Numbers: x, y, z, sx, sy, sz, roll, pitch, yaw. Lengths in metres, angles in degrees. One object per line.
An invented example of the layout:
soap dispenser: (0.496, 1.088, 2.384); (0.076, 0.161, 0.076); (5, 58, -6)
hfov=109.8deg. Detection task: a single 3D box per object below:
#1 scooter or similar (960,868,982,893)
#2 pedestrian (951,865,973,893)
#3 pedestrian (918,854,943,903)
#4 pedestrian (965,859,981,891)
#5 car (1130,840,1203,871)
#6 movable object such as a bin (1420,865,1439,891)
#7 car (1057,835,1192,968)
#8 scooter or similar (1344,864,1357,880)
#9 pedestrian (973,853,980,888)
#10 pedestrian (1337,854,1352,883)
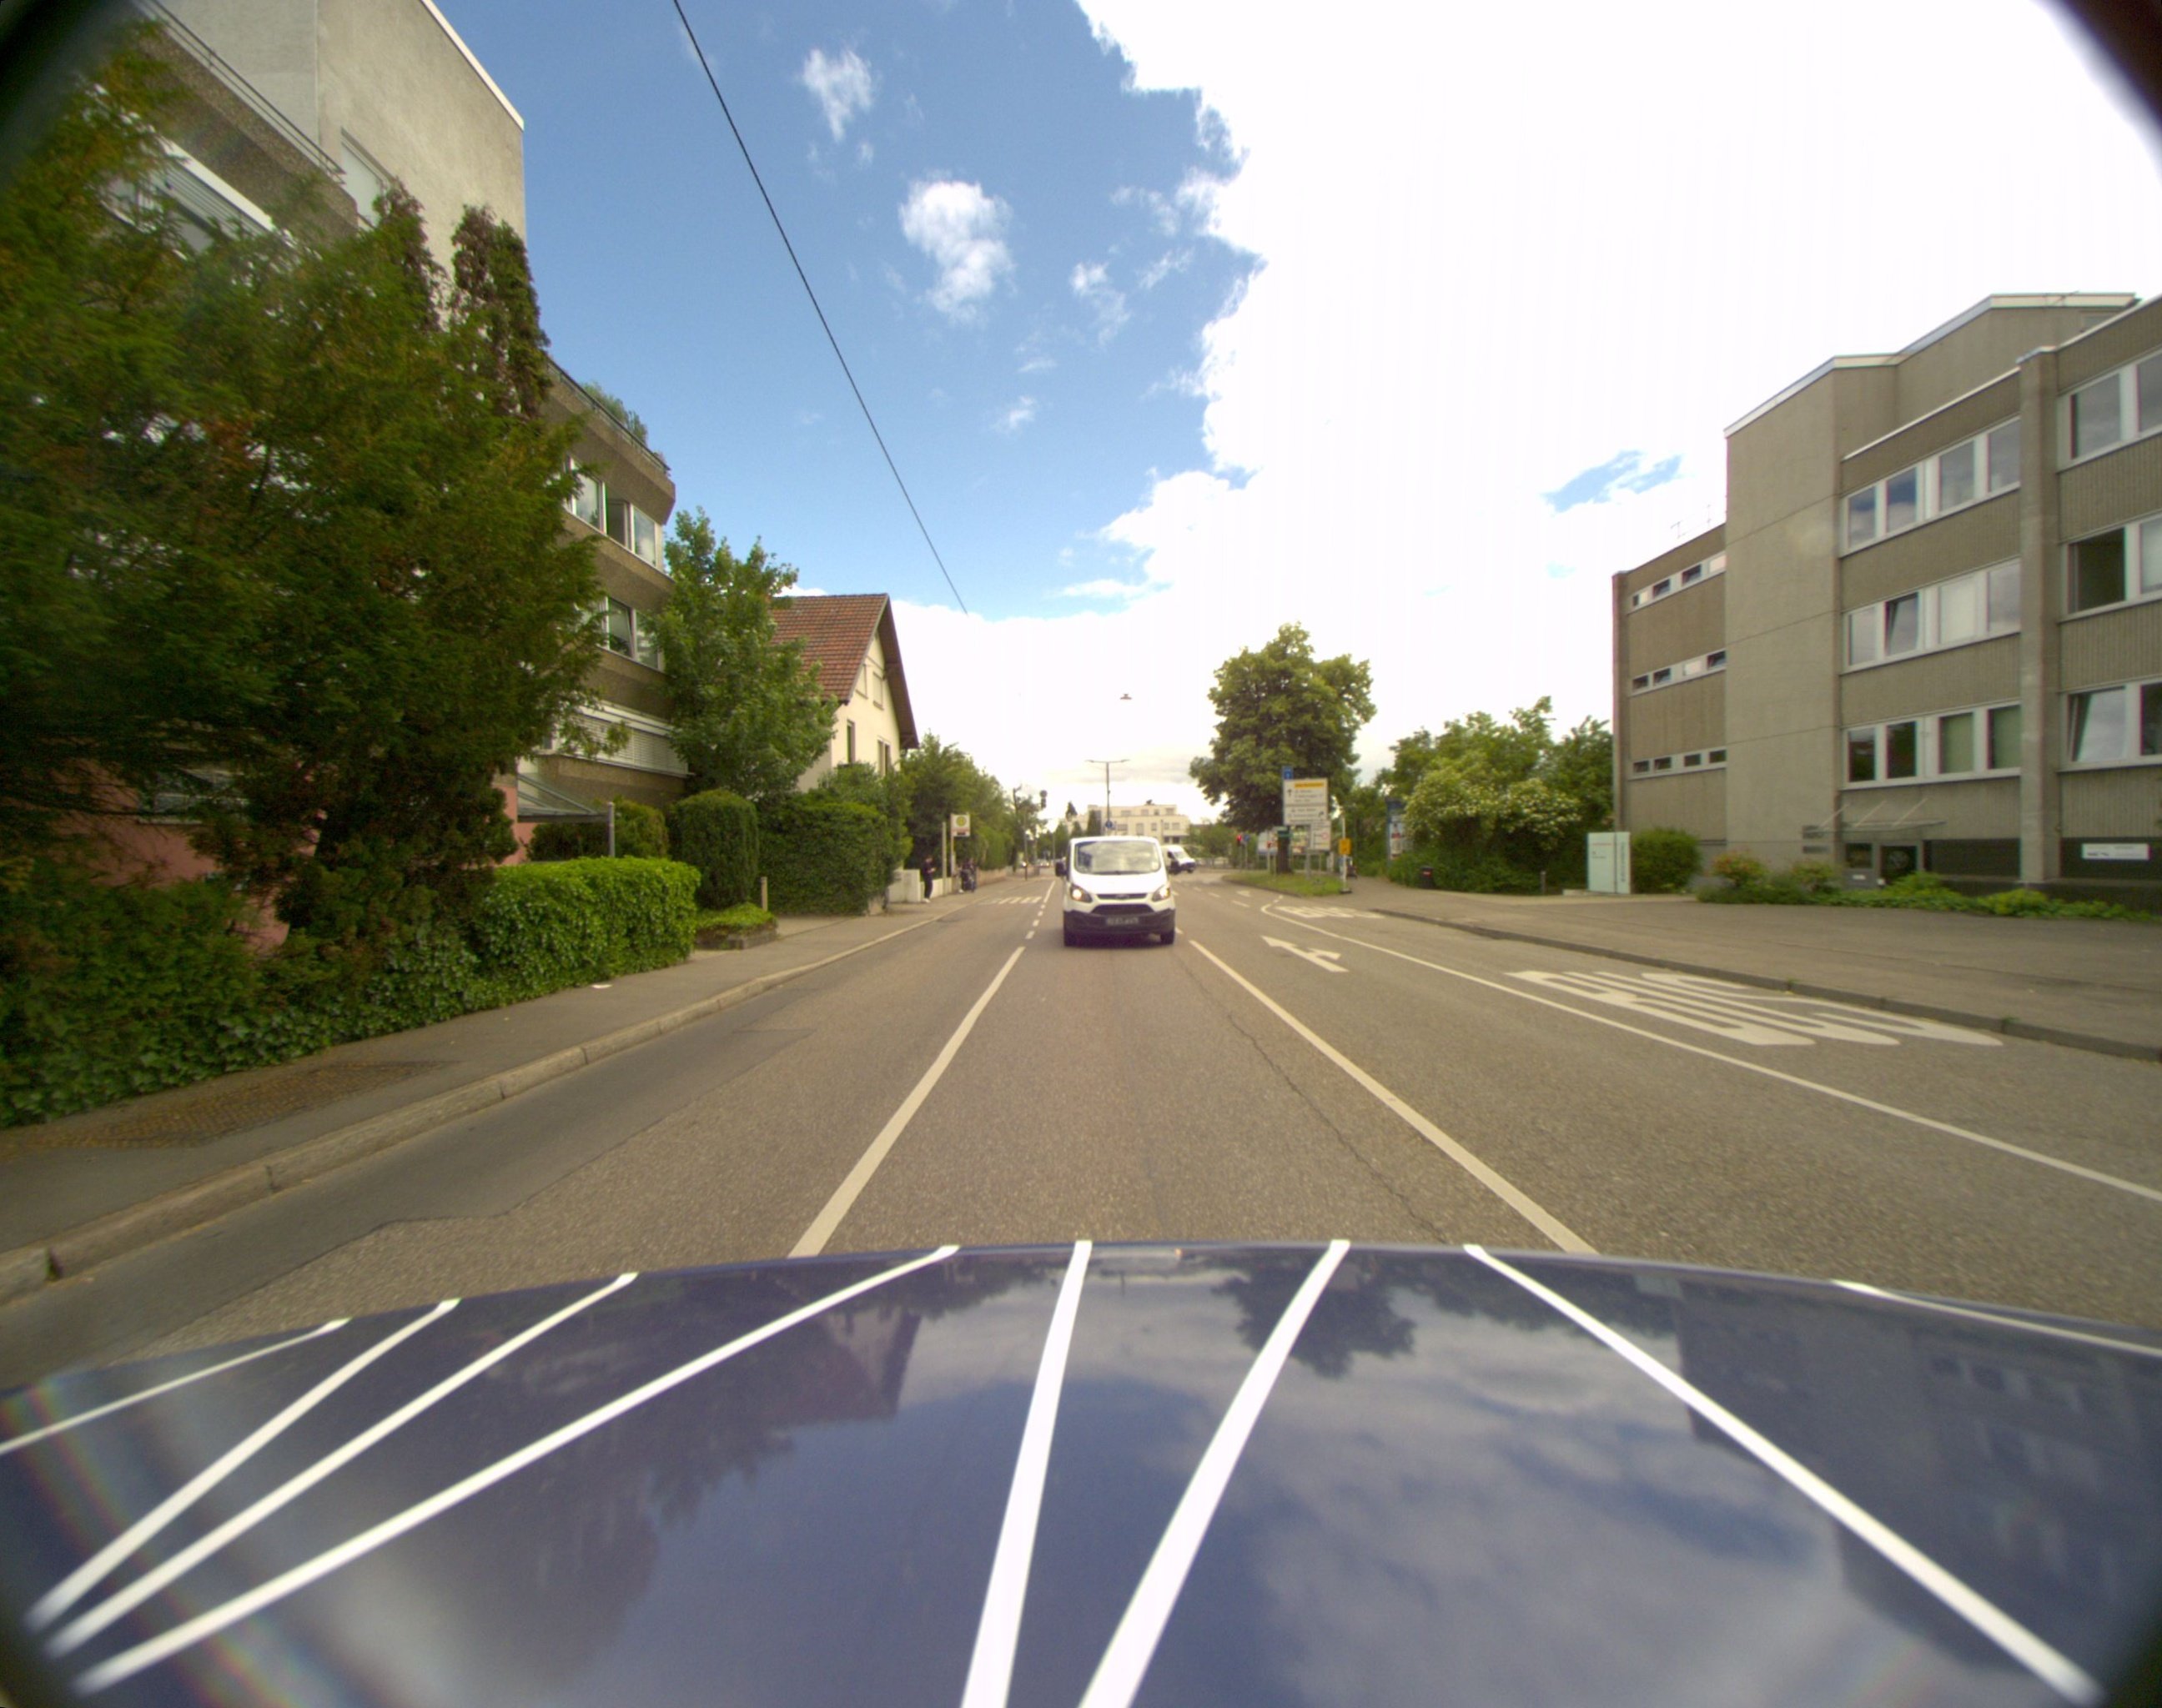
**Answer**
scooter or similar: (-5.119, 1.229, 35.366); (0.478, 1.091, 0.860); (2, 1, 43)
pedestrian: (-5.390, 1.136, 34.357); (0.916, 1.244, 0.789); (1, 1, -5)
pedestrian: (-5.553, 0.901, 28.052); (0.489, 1.757, 0.672); (-2, 2, 32)
pedestrian: (-5.154, 0.994, 36.214); (0.661, 1.526, 0.748); (1, 1, -1)
car: (8.208, 0.197, 73.468); (2.201, 2.630, 7.426); (-4, 1, -40)
movable object such as a bin: (13.461, 0.921, 29.351); (0.566, 0.922, 0.608); (-2, 1, 16)
car: (0.647, 0.699, 14.679); (1.999, 1.961, 5.714); (-3, 1, -1)
scooter or similar: (14.272, 0.960, 40.281); (0.607, 0.782, 0.860); (-3, 1, 18)
pedestrian: (-5.352, 0.847, 38.928); (0.344, 1.745, 0.496); (1, 1, -4)
pedestrian: (14.337, 0.794, 41.324); (0.672, 1.549, 0.520); (-3, 1, 18)
